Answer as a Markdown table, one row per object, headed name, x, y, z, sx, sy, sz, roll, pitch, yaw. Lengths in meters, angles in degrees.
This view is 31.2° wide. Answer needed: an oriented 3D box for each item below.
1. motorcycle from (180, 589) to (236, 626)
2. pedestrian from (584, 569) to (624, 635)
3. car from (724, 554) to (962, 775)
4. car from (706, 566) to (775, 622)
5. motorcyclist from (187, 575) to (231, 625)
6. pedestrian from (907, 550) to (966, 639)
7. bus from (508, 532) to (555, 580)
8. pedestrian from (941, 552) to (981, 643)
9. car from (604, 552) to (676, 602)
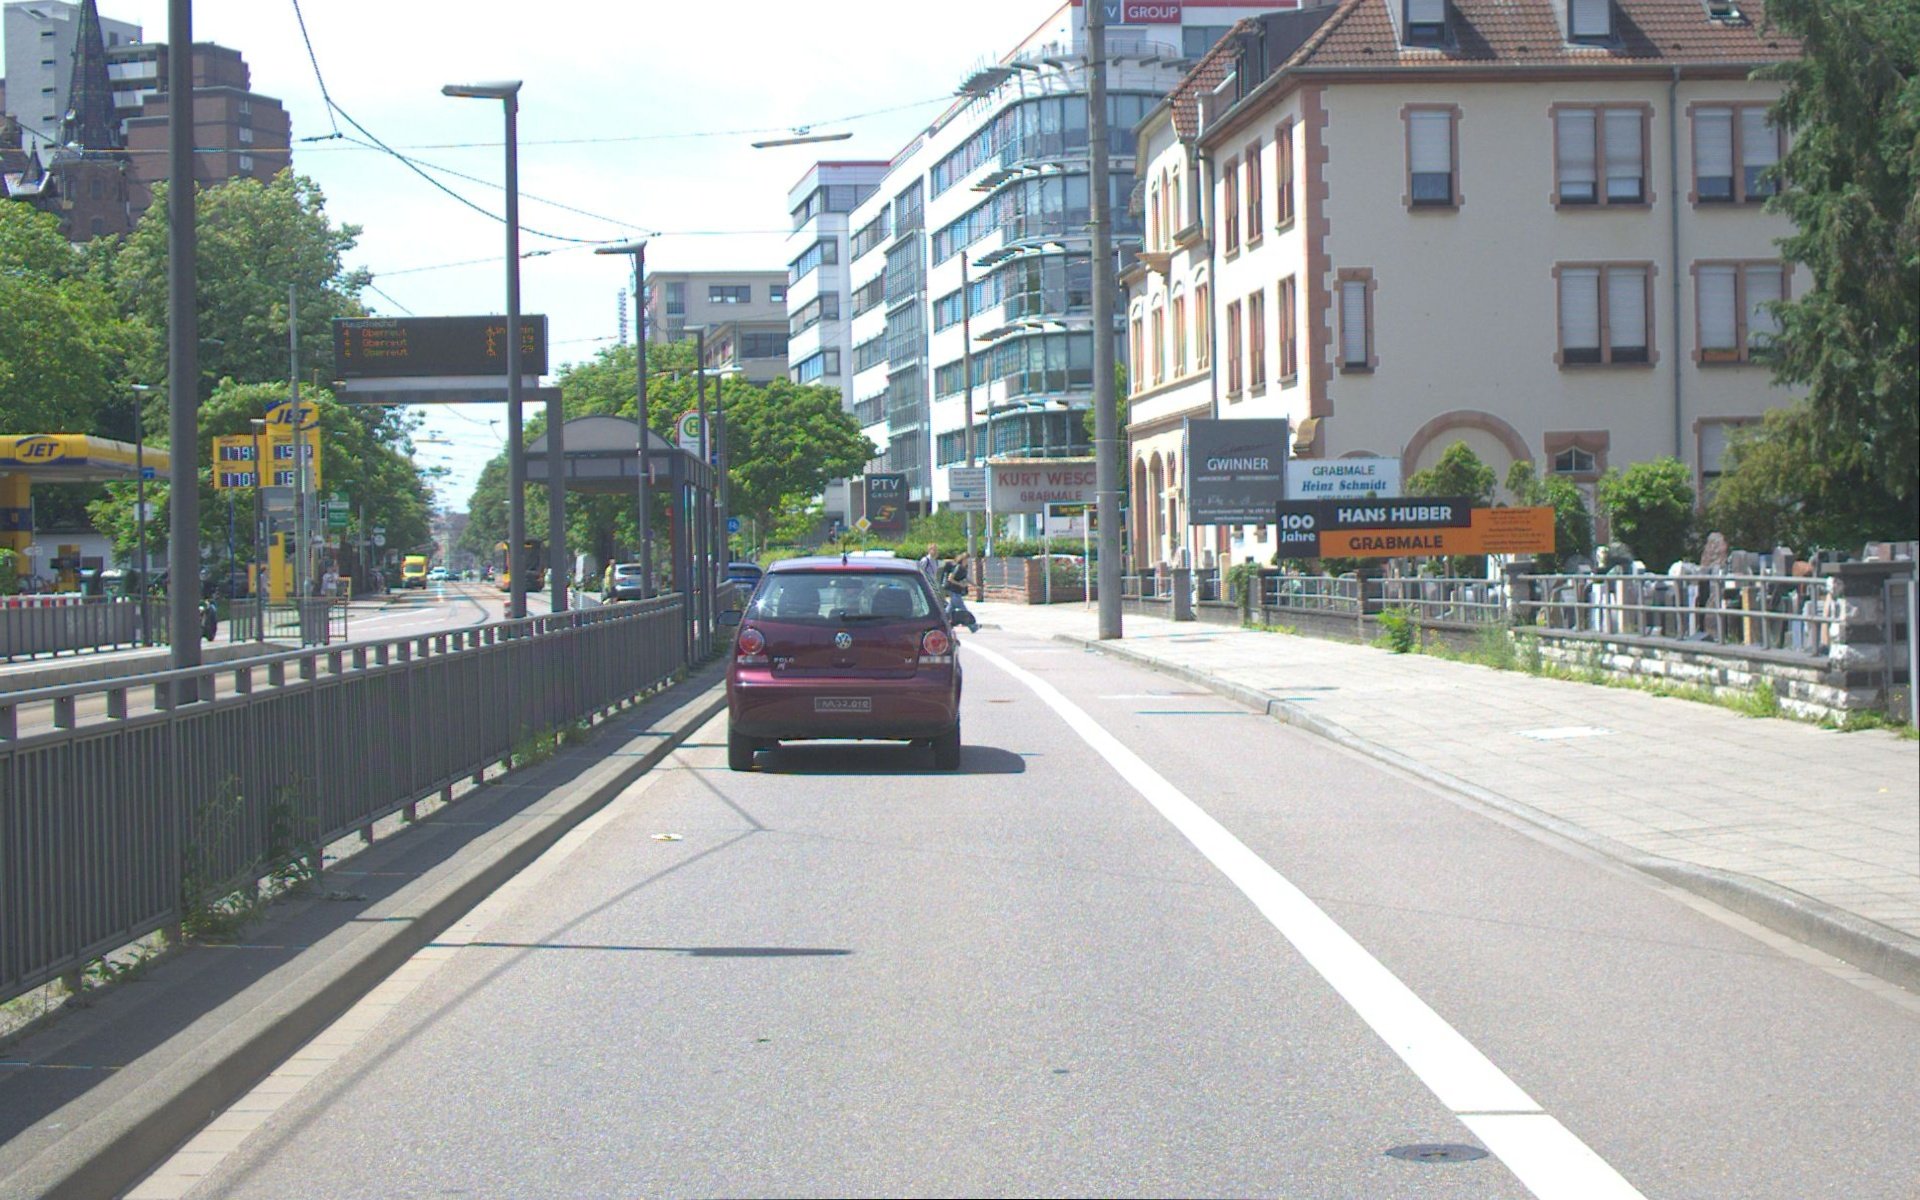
| name | x | y | z | sx | sy | sz | roll | pitch | yaw |
| --- | --- | --- | --- | --- | --- | --- | --- | --- | --- |
| motorcycle | -17.498 | 0.168 | 80.026 | 0.872 | 0.803 | 1.909 | -1 | 1 | 0 |
| pedestrian | -10.962 | 0.073 | 105.909 | 1.109 | 2.007 | 1.039 | -1 | 0 | 0 |
| car | -0.815 | 0.423 | 24.513 | 1.561 | 1.448 | 3.062 | -1 | 0 | -1 |
| car | -6.550 | -0.184 | 103.080 | 1.993 | 1.619 | 4.632 | -1 | 0 | -3 |
| motorcyclist | -17.494 | 0.002 | 80.081 | 0.849 | 1.136 | 0.634 | -1 | 1 | 0 |
| pedestrian | -0.492 | -0.121 | 71.991 | 1.169 | 1.830 | 0.792 | -1 | 1 | -3 |
| bus | -27.389 | -2.784 | 219.665 | 2.144 | 2.993 | 6.575 | -1 | 0 | -14 |
| pedestrian | 0.014 | -0.054 | 70.658 | 0.744 | 1.830 | 0.792 | -1 | 1 | -3 |
| car | -12.318 | -0.876 | 132.124 | 1.993 | 1.842 | 4.001 | -1 | 1 | -16 |
